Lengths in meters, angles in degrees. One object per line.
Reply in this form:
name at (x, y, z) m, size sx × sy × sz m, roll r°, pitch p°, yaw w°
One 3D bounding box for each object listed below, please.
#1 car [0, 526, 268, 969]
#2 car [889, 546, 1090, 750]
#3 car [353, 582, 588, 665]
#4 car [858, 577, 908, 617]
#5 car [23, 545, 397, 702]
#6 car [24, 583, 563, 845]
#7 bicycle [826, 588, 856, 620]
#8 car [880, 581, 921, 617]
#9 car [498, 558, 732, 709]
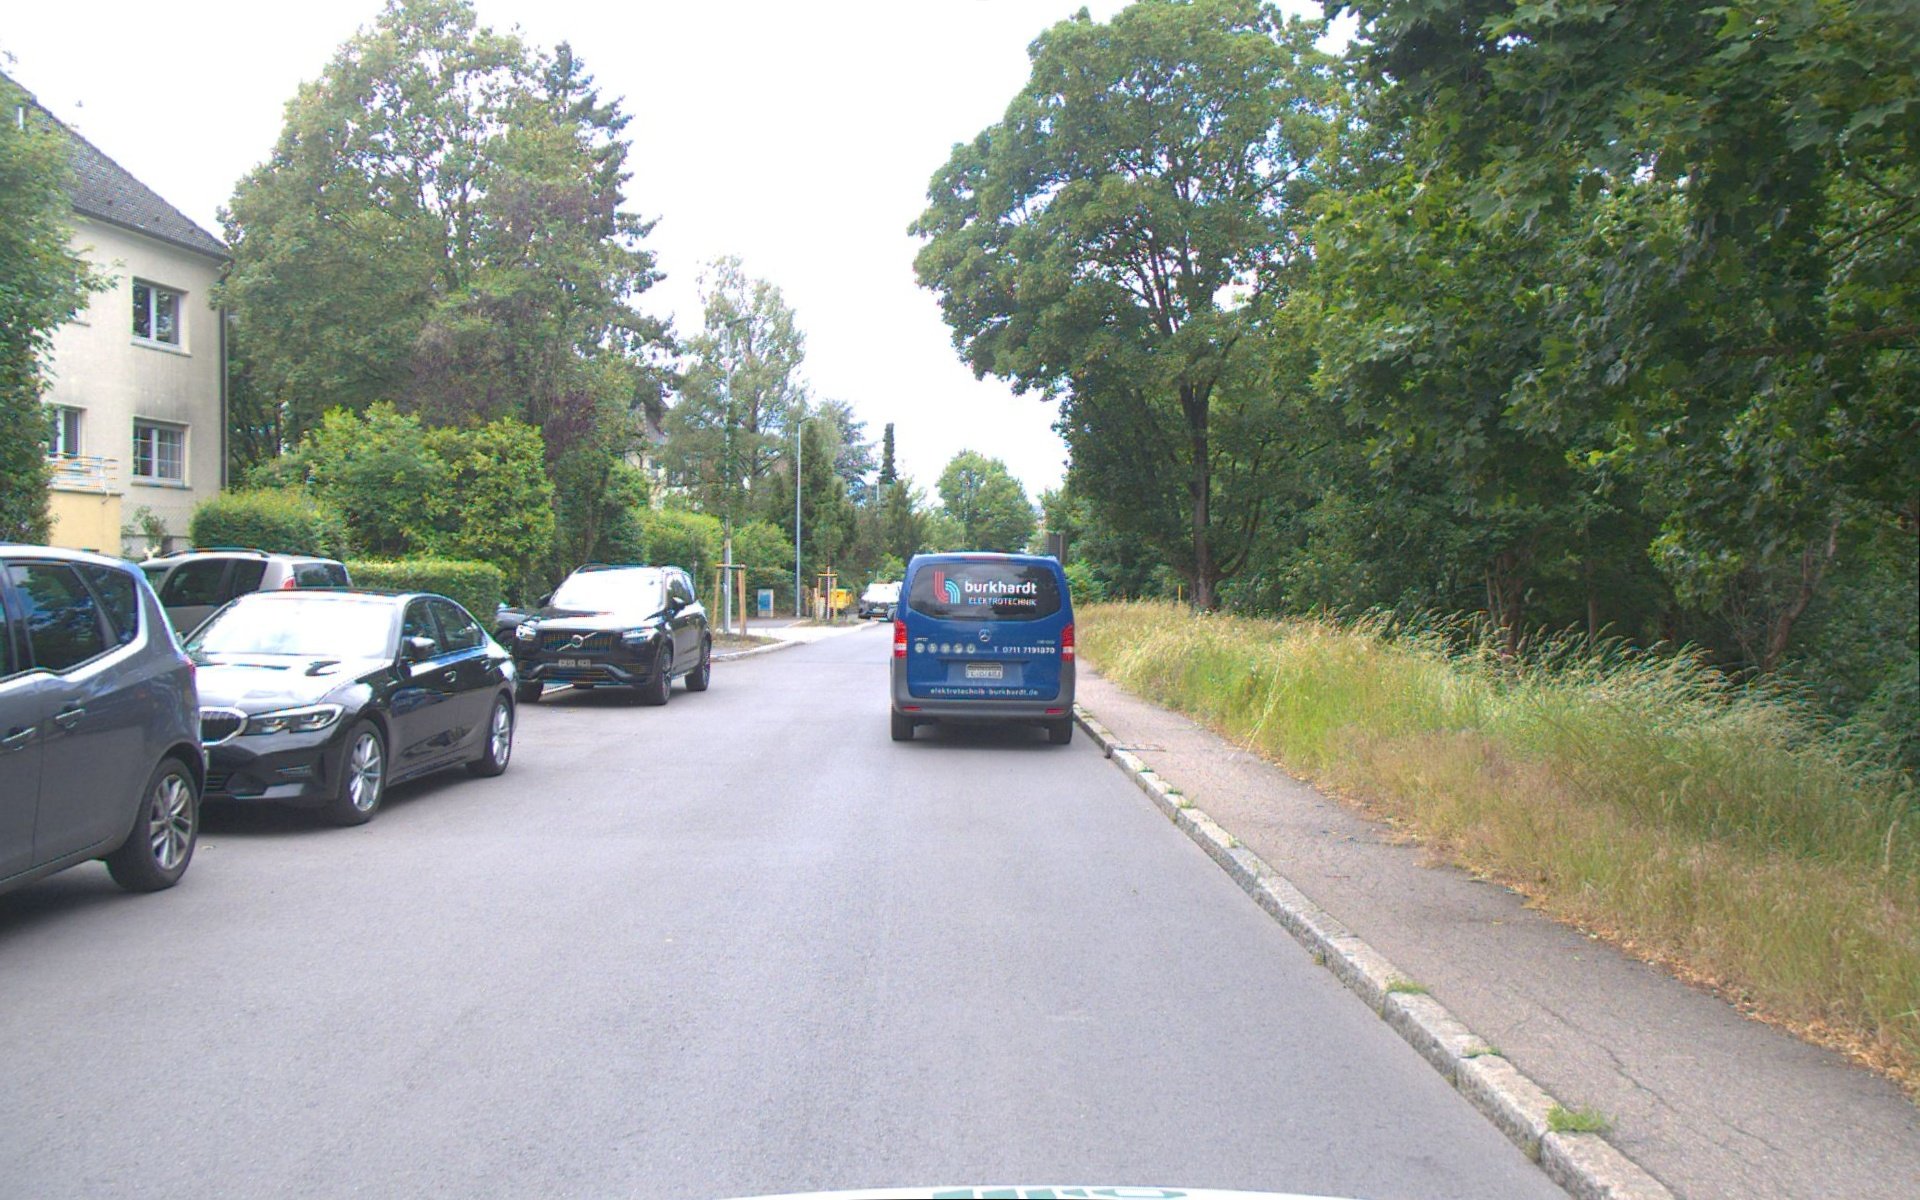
car at (-4.436, 0.534, 6.353) m, size 1.696 × 1.661 × 4.567 m, roll 1°, pitch 0°, yaw -1°
car at (0.199, 0.397, 17.650) m, size 1.851 × 1.876 × 3.999 m, roll 2°, pitch 2°, yaw -3°
car at (-8.923, 0.410, 30.336) m, size 3.743 × 1.409 × 1.779 m, roll 1°, pitch 1°, yaw 2°
car at (-3.421, -0.127, 73.799) m, size 1.798 × 1.659 × 4.302 m, roll 2°, pitch 0°, yaw 2°
car at (-8.816, 0.249, 19.569) m, size 3.613 × 1.666 × 1.830 m, roll 1°, pitch 0°, yaw 12°
car at (-4.361, 0.628, 11.805) m, size 1.718 × 1.437 × 4.899 m, roll 1°, pitch 0°, yaw 2°
bicycle at (-5.080, 0.159, 70.908) m, size 0.887 × 1.273 × 2.917 m, roll 3°, pitch 0°, yaw 2°
car at (-3.071, -0.058, 86.700) m, size 1.794 × 1.782 × 4.001 m, roll 2°, pitch 1°, yaw 2°
car at (-4.516, 0.387, 22.526) m, size 1.933 × 1.767 × 5.190 m, roll 1°, pitch 0°, yaw 2°
